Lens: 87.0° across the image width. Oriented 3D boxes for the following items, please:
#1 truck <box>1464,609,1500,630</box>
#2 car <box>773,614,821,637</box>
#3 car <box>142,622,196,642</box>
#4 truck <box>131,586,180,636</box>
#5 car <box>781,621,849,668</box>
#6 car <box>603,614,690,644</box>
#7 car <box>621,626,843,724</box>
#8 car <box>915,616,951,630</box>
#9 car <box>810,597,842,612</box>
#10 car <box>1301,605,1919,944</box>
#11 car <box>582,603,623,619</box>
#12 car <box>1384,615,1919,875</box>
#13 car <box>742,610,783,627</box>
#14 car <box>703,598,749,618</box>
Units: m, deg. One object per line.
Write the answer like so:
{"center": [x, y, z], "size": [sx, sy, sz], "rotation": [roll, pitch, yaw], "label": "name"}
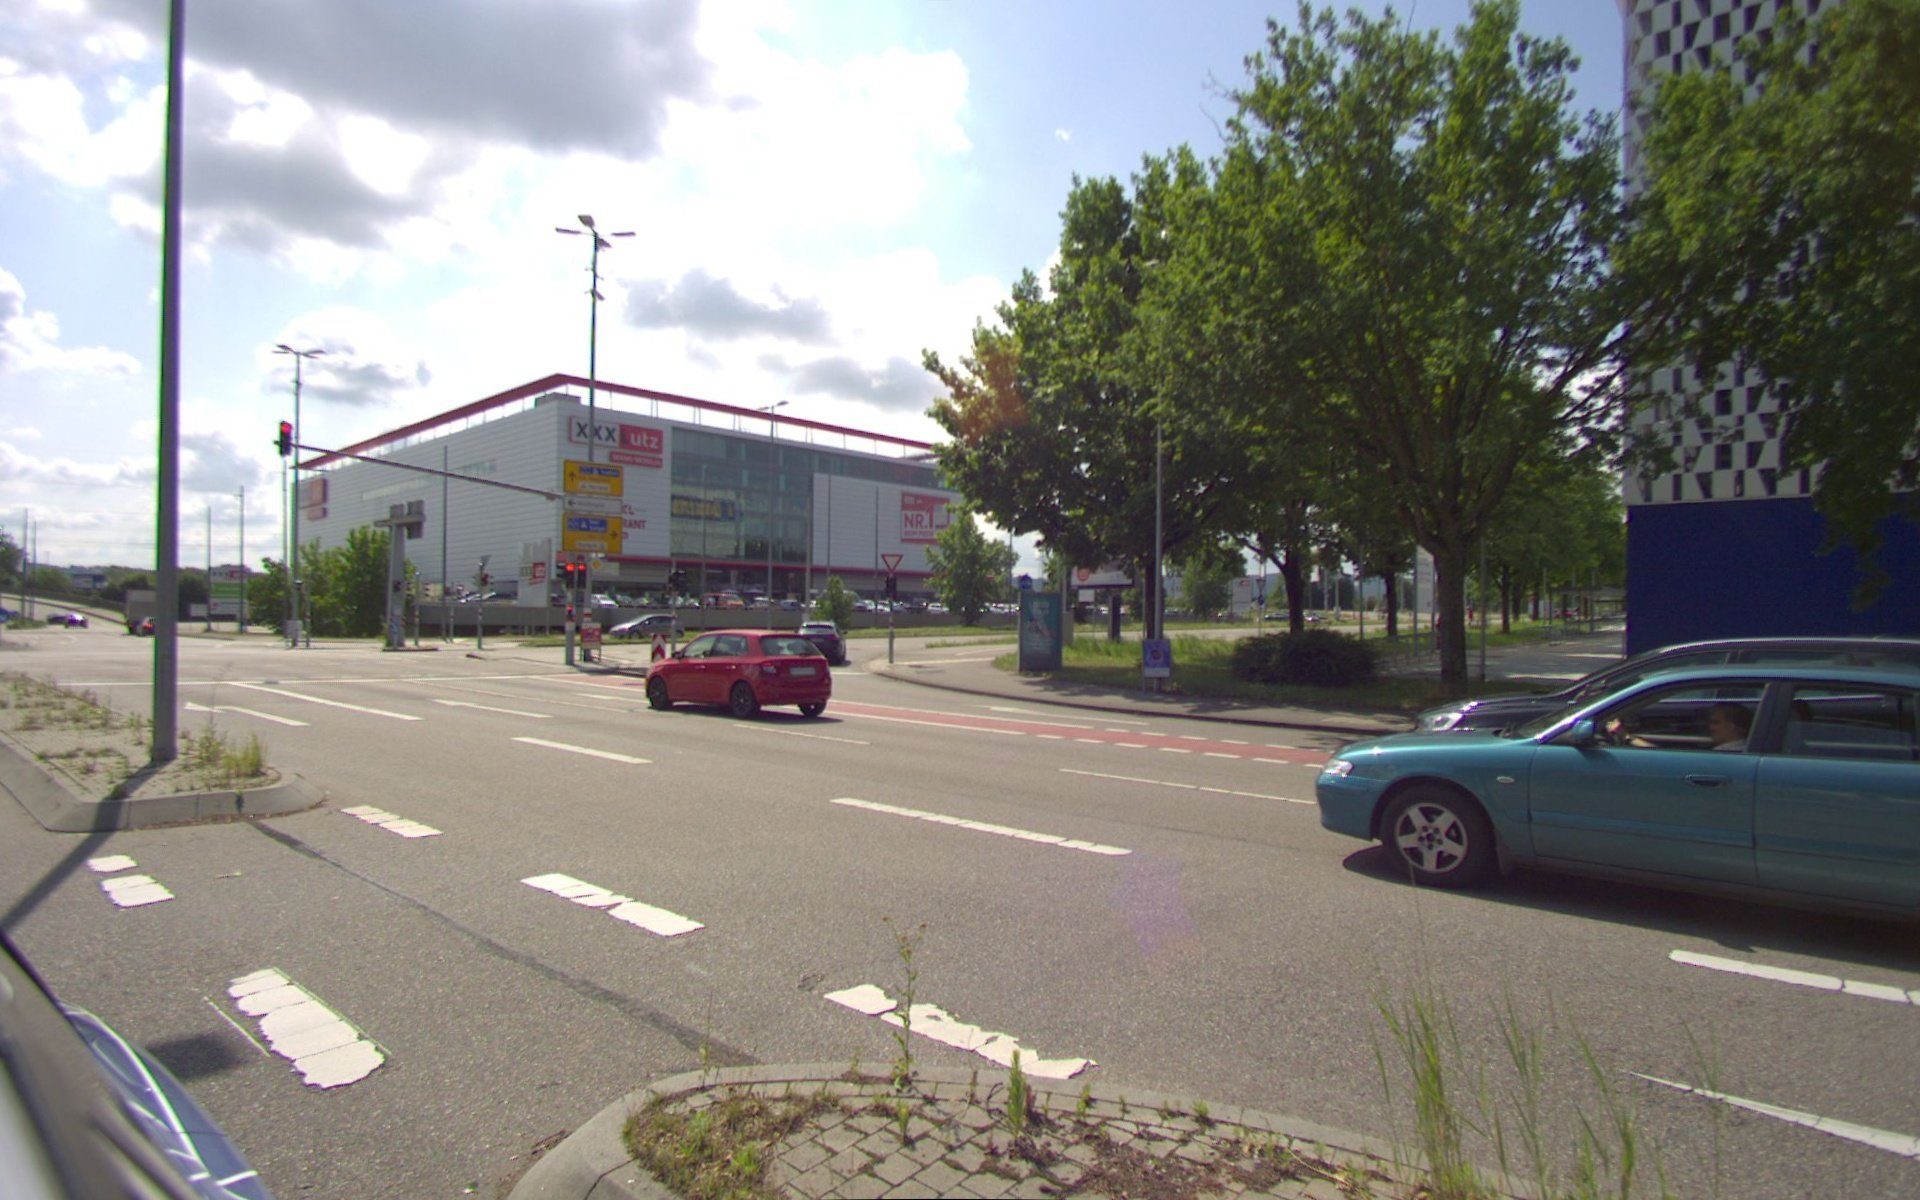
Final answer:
{"center": [73.261, 2.756, 142.003], "size": [2.974, 2.773, 5.703], "rotation": [-3, -2, 42], "label": "truck"}
{"center": [-17.534, 2.743, 108.710], "size": [5.797, 2.300, 1.725], "rotation": [-3, -2, 42], "label": "car"}
{"center": [-59.511, 2.401, 76.242], "size": [1.749, 1.489, 4.693], "rotation": [0, -2, -19], "label": "car"}
{"center": [-70.066, 1.045, 88.028], "size": [3.172, 4.058, 9.085], "rotation": [0, -2, -40], "label": "truck"}
{"center": [-5.120, 1.553, 36.319], "size": [1.869, 1.567, 4.587], "rotation": [0, -1, -1], "label": "car"}
{"center": [-16.725, 1.547, 54.116], "size": [1.608, 1.542, 4.207], "rotation": [-1, -2, 44], "label": "car"}
{"center": [-4.080, 1.249, 17.802], "size": [4.123, 1.494, 1.668], "rotation": [-1, -4, 41], "label": "car"}
{"center": [-3.288, 2.784, 122.467], "size": [4.425, 1.618, 1.926], "rotation": [-2, -2, 44], "label": "car"}
{"center": [-16.876, 0.555, 127.109], "size": [4.001, 1.763, 1.889], "rotation": [-3, -2, 44], "label": "car"}
{"center": [4.617, 0.861, 5.694], "size": [4.817, 1.560, 1.755], "rotation": [-1, -4, 40], "label": "car"}
{"center": [-35.531, 1.123, 100.477], "size": [4.422, 1.482, 1.928], "rotation": [-2, -2, 42], "label": "car"}
{"center": [6.322, 1.061, 8.417], "size": [4.817, 1.769, 1.908], "rotation": [-1, -4, 40], "label": "car"}
{"center": [-19.885, 1.870, 101.756], "size": [4.425, 1.618, 1.926], "rotation": [-2, -2, 44], "label": "car"}
{"center": [-22.559, 0.816, 97.527], "size": [4.174, 1.763, 1.896], "rotation": [-3, -2, 32], "label": "car"}
